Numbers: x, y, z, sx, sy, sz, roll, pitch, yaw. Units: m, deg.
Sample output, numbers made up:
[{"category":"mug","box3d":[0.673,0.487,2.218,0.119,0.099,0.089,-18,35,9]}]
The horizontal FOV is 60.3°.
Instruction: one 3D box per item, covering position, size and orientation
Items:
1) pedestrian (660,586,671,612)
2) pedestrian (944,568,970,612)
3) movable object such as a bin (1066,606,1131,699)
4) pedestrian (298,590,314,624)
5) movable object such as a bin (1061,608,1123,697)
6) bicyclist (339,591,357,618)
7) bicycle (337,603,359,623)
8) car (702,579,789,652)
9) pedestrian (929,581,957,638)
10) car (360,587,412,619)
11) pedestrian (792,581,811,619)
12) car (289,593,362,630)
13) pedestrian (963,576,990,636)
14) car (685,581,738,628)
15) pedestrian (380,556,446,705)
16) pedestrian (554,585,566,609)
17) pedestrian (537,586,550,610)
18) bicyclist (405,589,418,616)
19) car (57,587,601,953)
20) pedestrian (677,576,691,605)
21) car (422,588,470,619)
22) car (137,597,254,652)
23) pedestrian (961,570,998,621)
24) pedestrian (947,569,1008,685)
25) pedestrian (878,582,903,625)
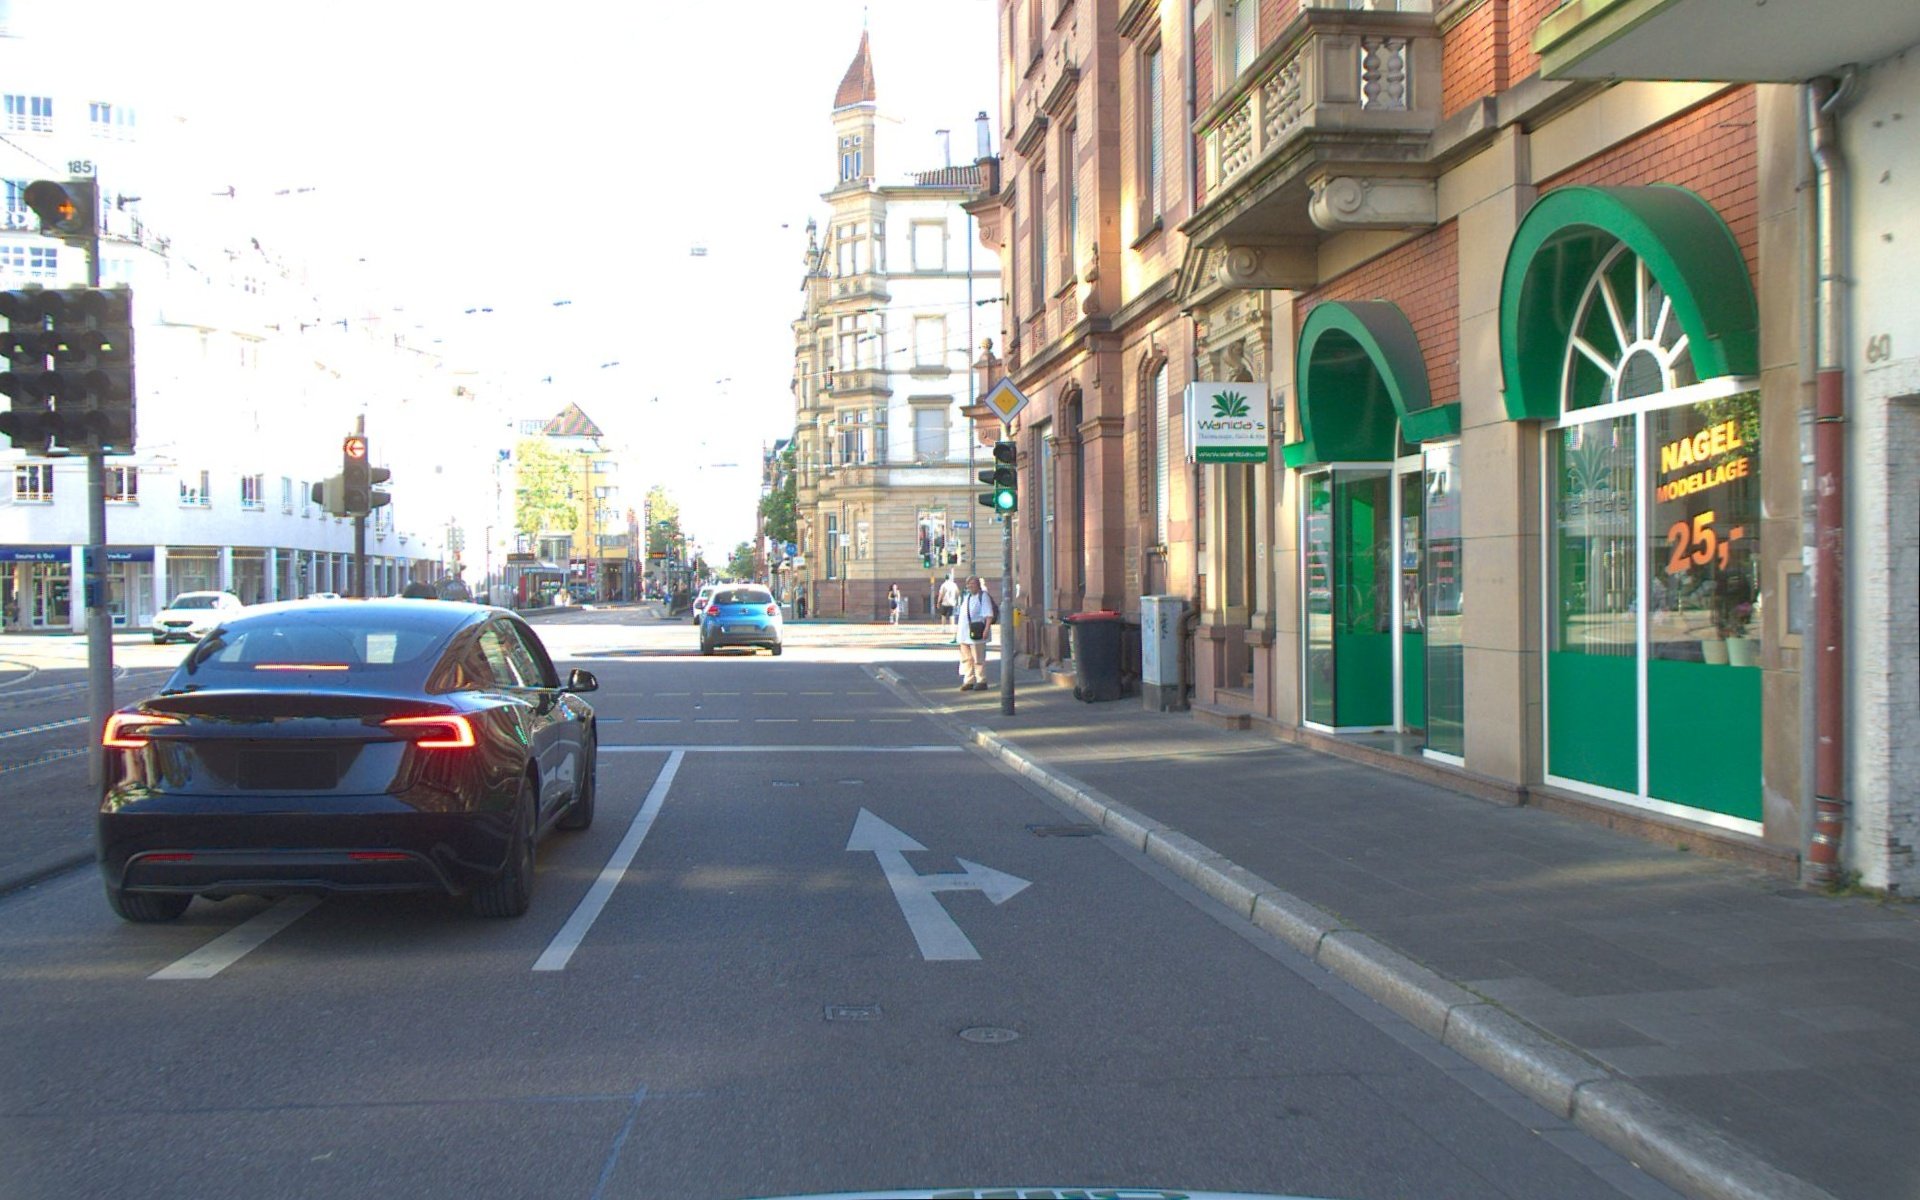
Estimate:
[{"category":"pedestrian","box3d":[-18.425,-0.060,103.548,0.463,1.589,0.580,-1,0,-32]},{"category":"pedestrian","box3d":[-0.103,-0.364,60.523,0.620,1.564,0.941,-1,-1,24]},{"category":"movable object such as a bin","box3d":[1.725,0.647,20.687,0.650,1.091,0.590,-3,0,-6]},{"category":"pedestrian","box3d":[-30.312,0.323,76.650,0.439,1.561,0.672,-1,2,-44]},{"category":"movable object such as a bin","box3d":[1.691,0.667,21.274,0.650,1.091,0.544,-3,0,-6]},{"category":"bicyclist","box3d":[-29.818,0.234,80.571,0.577,1.308,0.990,-1,-1,-8]},{"category":"bicycle","box3d":[-29.795,0.634,80.527,0.582,0.989,1.852,-1,-1,-7]},{"category":"car","box3d":[-4.662,0.306,36.001,1.747,1.476,3.648,1,0,-8]},{"category":"pedestrian","box3d":[-0.507,0.274,49.464,0.685,1.684,0.632,-1,-1,14]},{"category":"car","box3d":[-30.501,0.194,88.024,1.957,1.624,3.990,-1,-1,-10]},{"category":"pedestrian","box3d":[-7.442,-0.011,77.650,0.766,1.780,1.091,0,2,-10]},{"category":"car","box3d":[-26.669,0.451,69.685,1.957,1.477,4.640,-1,1,-9]},{"category":"pedestrian","box3d":[0.494,0.190,49.577,0.629,1.775,0.706,1,-1,14]},{"category":"car","box3d":[-9.757,0.194,65.213,1.956,1.773,3.993,1,-1,-8]},{"category":"pedestrian","box3d":[-6.801,0.366,20.596,0.547,1.794,0.893,-2,1,-8]},{"category":"pedestrian","box3d":[-27.170,-0.192,112.345,0.718,1.586,0.741,0,1,-9]},{"category":"pedestrian","box3d":[-26.630,-0.138,105.817,0.718,1.554,0.741,0,1,-9]},{"category":"bicyclist","box3d":[-31.767,0.141,95.733,0.578,1.514,0.925,-1,-1,-10]},{"category":"car","box3d":[-2.973,0.682,8.743,1.776,1.449,4.146,1,0,-8]},{"category":"pedestrian","box3d":[-16.577,-0.574,99.284,0.623,1.727,0.933,1,-1,-1]},{"category":"car","box3d":[-32.421,0.213,104.468,2.186,1.944,4.600,0,0,-9]},{"category":"car","box3d":[-22.257,0.665,48.347,1.957,1.477,4.492,-1,1,-9]},{"category":"pedestrian","box3d":[0.637,-0.147,54.796,0.904,1.660,0.941,-1,-1,24]},{"category":"pedestrian","box3d":[0.250,0.377,23.739,0.670,1.635,0.728,-1,0,-17]},{"category":"pedestrian","box3d":[-2.730,0.148,64.961,0.903,1.660,0.942,-1,-1,0]}]
